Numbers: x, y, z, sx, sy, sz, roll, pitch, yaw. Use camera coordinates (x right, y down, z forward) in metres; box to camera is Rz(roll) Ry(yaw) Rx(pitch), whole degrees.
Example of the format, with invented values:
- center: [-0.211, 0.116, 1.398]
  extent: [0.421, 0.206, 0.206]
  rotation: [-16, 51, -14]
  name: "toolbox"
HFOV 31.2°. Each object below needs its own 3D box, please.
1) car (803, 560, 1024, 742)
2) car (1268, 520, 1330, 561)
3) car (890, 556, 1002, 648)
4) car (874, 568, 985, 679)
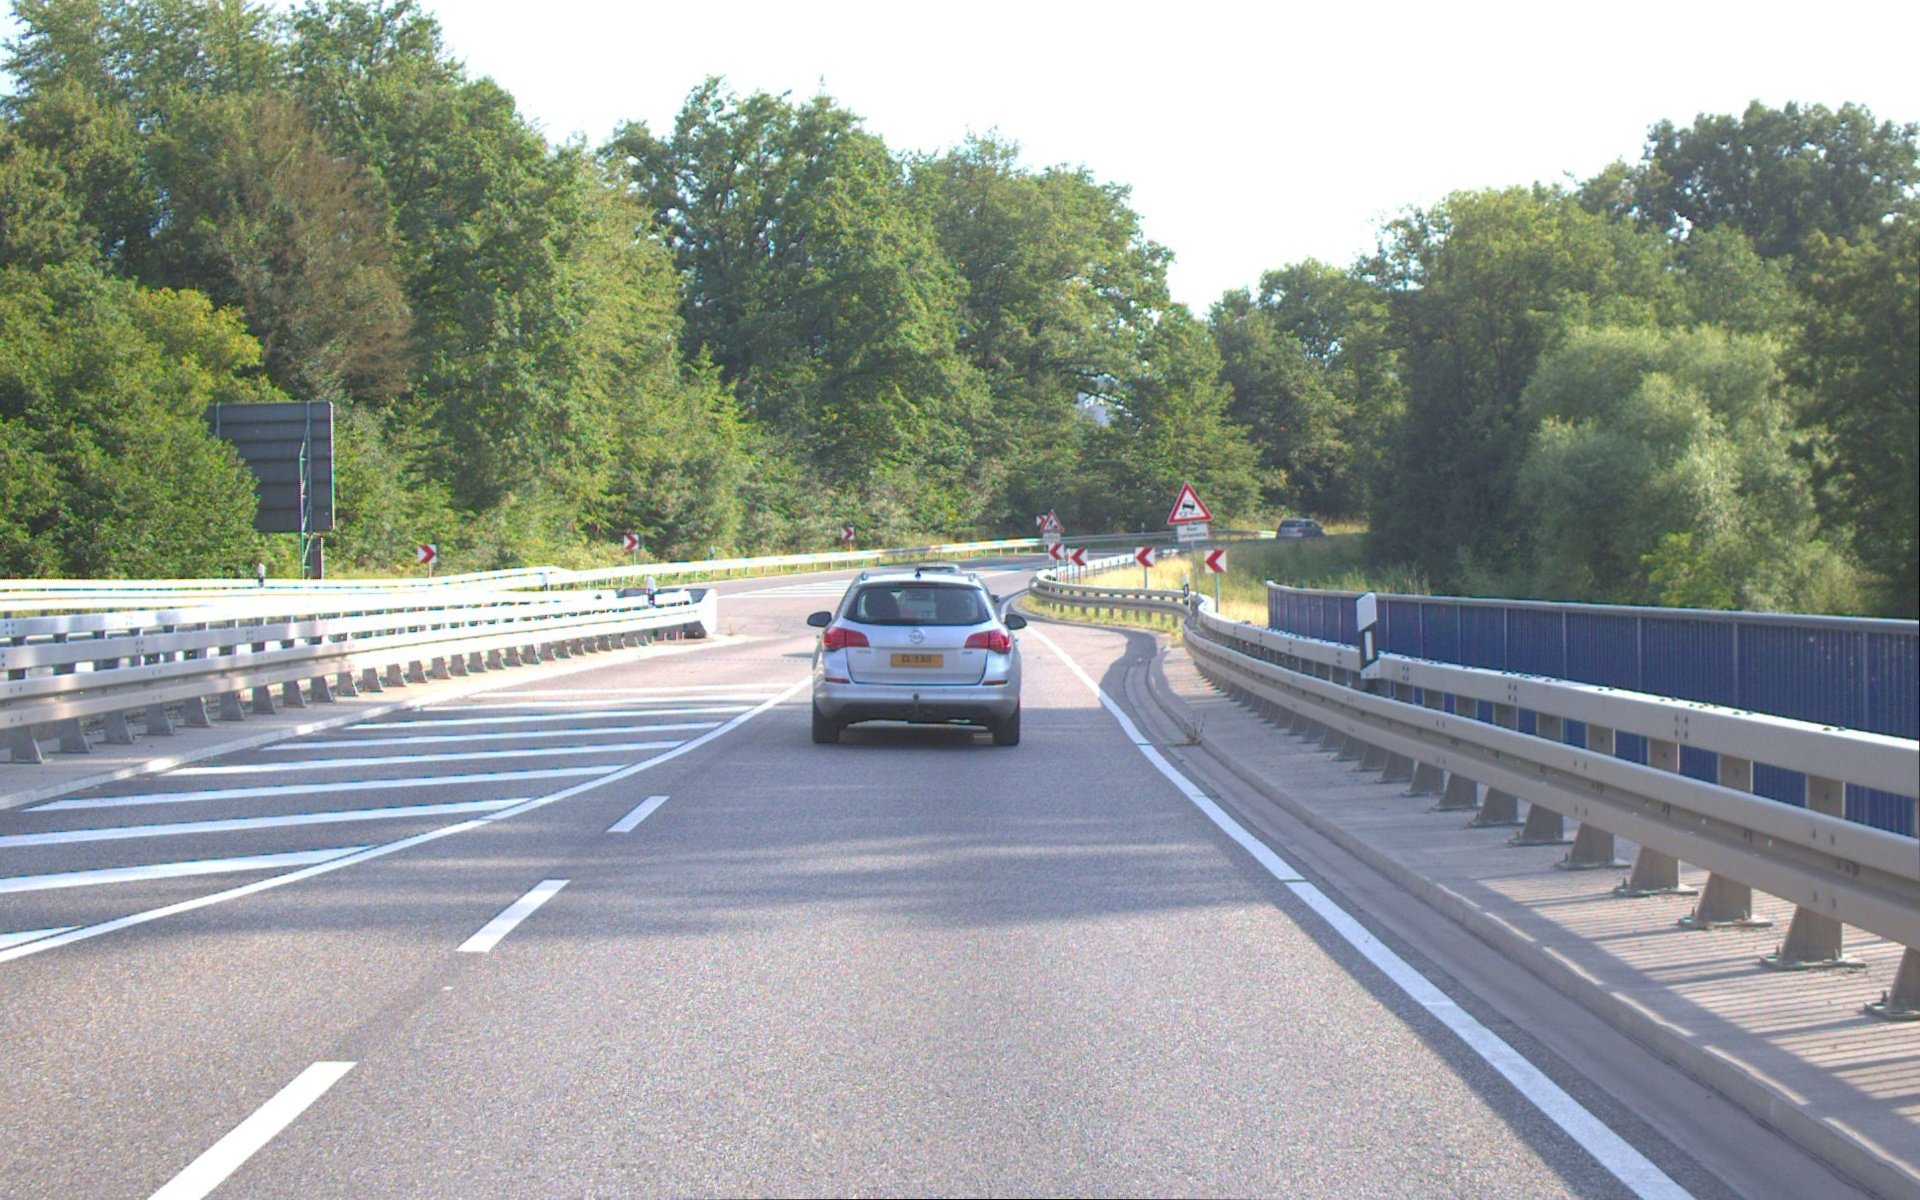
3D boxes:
- center: [-0.426, 0.443, 30.378]
  extent: [1.809, 1.481, 4.000]
  rotation: [1, -1, -1]
  name: "car"
- center: [17.728, -3.082, 179.644]
  extent: [1.996, 2.007, 3.994]
  rotation: [0, -1, 25]
  name: "car"
- center: [-0.269, 0.050, 58.034]
  extent: [1.809, 1.481, 4.000]
  rotation: [1, -1, -1]
  name: "car"
- center: [-0.605, 0.450, 64.874]
  extent: [1.993, 2.007, 4.000]
  rotation: [1, -1, -1]
  name: "car"
